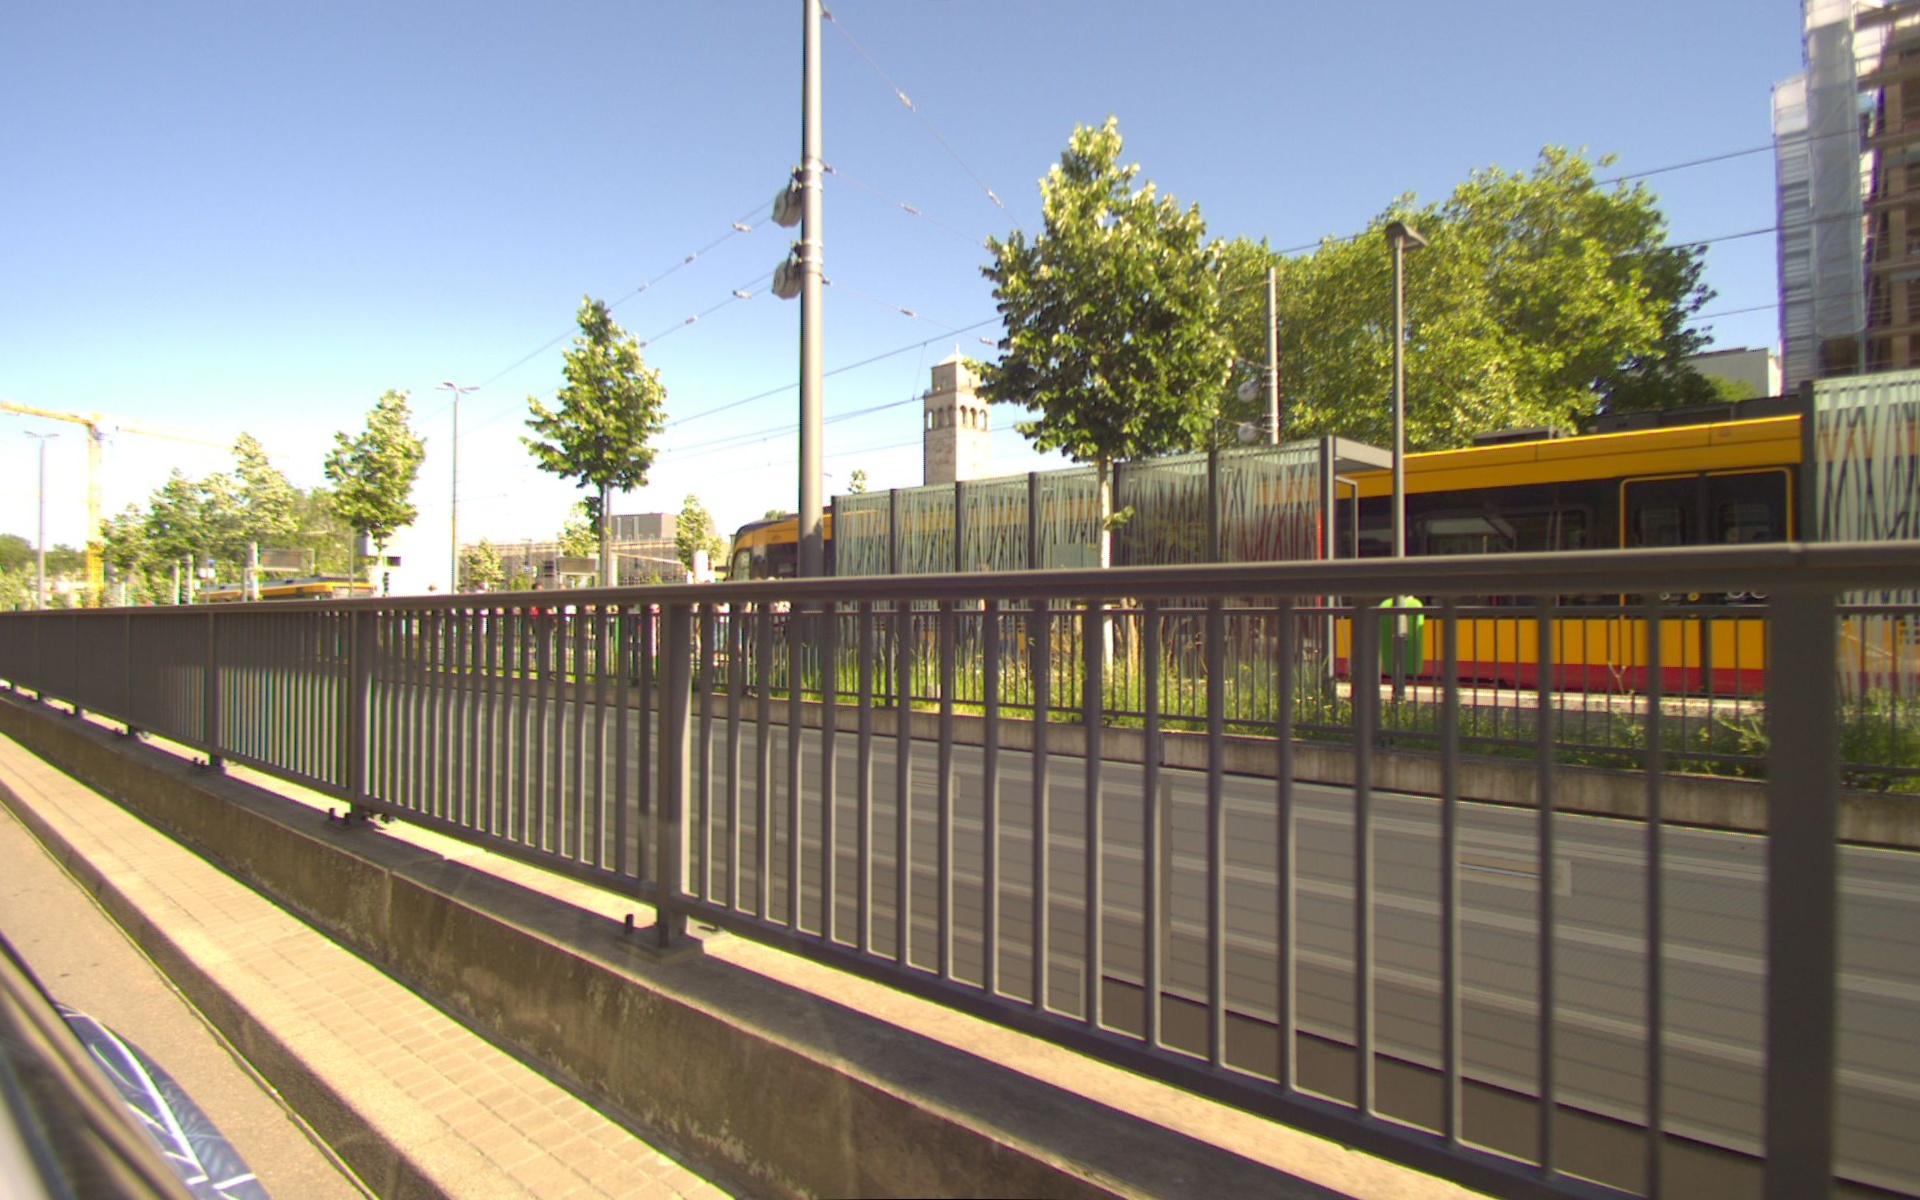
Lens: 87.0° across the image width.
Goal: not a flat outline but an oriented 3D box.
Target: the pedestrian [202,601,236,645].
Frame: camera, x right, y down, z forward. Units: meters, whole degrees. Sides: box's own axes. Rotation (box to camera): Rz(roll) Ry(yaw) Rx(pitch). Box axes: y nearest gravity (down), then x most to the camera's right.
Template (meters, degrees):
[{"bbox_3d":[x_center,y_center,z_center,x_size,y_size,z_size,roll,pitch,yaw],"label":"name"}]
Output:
[{"bbox_3d":[-31.443,0.977,42.921,1.188,1.788,0.865,-2,-1,39],"label":"pedestrian"}]

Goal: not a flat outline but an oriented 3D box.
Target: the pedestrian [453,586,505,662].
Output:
[{"bbox_3d":[-12.123,0.608,25.511,1.007,1.865,0.877,-1,-1,41],"label":"pedestrian"}]

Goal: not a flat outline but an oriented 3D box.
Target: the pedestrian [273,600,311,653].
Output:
[{"bbox_3d":[-22.901,0.911,34.710,0.977,1.788,0.783,-2,-1,39],"label":"pedestrian"}]

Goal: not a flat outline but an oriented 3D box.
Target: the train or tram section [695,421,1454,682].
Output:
[{"bbox_3d":[0.651,-0.499,18.906,15.178,3.304,2.840,-1,0,42],"label":"train or tram section"}]

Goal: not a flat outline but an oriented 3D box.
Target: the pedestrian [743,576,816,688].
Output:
[{"bbox_3d":[-2.751,0.481,15.413,0.861,1.641,0.733,-1,-1,42],"label":"pedestrian"}]

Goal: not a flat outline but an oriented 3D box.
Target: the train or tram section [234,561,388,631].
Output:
[{"bbox_3d":[-36.048,-0.106,55.730,15.959,3.346,2.818,-1,1,42],"label":"train or tram section"}]

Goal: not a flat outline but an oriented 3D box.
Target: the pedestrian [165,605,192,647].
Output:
[{"bbox_3d":[-34.218,1.150,44.332,0.958,1.788,0.696,-2,-1,39],"label":"pedestrian"}]

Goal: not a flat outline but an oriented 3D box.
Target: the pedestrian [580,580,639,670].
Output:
[{"bbox_3d":[-6.600,0.469,19.069,0.861,1.641,0.733,-1,-1,42],"label":"pedestrian"}]

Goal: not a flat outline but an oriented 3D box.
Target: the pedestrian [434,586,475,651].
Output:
[{"bbox_3d":[-14.314,0.528,28.671,1.074,1.824,0.665,-1,-2,41],"label":"pedestrian"}]

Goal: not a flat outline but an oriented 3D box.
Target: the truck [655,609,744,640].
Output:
[{"bbox_3d":[-24.497,2.243,95.550,7.912,2.814,2.465,1,-2,-43],"label":"truck"}]

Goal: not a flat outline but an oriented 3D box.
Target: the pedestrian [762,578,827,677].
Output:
[{"bbox_3d":[-2.846,0.468,17.443,0.861,1.641,0.733,-1,-1,42],"label":"pedestrian"}]

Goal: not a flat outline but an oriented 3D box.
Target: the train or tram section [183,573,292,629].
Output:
[{"bbox_3d":[-46.850,0.151,65.398,13.067,3.334,2.840,-1,0,42],"label":"train or tram section"}]

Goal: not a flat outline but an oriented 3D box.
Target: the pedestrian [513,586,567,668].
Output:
[{"bbox_3d":[-8.709,0.557,20.975,0.861,1.641,0.733,-1,-1,42],"label":"pedestrian"}]

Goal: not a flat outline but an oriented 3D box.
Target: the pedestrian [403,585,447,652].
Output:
[{"bbox_3d":[-14.884,0.512,28.164,1.030,1.824,0.761,-1,-2,41],"label":"pedestrian"}]

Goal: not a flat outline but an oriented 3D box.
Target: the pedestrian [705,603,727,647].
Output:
[{"bbox_3d":[-8.917,0.905,36.964,0.590,1.605,0.525,-1,-2,39],"label":"pedestrian"}]

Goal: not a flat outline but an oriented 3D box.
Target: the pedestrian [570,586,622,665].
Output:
[{"bbox_3d":[-7.715,0.535,21.455,0.861,1.641,0.733,-1,-1,42],"label":"pedestrian"}]

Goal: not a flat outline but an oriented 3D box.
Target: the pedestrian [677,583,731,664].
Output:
[{"bbox_3d":[-5.332,0.491,21.090,0.861,1.641,0.733,-1,-1,42],"label":"pedestrian"}]

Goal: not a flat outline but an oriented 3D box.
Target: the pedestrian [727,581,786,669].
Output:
[{"bbox_3d":[-3.922,0.472,19.497,0.861,1.641,0.733,-1,-1,42],"label":"pedestrian"}]

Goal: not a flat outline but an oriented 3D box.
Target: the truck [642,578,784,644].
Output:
[{"bbox_3d":[-12.240,0.537,49.717,7.950,2.992,2.690,-1,1,41],"label":"truck"}]

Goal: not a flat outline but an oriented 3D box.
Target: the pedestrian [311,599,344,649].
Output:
[{"bbox_3d":[-22.957,0.867,36.733,0.825,1.788,0.754,-2,-1,38],"label":"pedestrian"}]

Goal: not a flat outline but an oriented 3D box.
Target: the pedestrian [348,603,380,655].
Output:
[{"bbox_3d":[-17.817,0.861,30.262,0.588,1.524,0.641,-2,-1,38],"label":"pedestrian"}]

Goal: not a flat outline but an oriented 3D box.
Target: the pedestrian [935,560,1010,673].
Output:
[{"bbox_3d":[0.184,0.251,15.361,0.861,1.641,0.733,-1,-1,42],"label":"pedestrian"}]

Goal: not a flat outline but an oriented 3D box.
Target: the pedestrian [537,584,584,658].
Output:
[{"bbox_3d":[-9.435,0.497,23.898,0.861,1.707,0.733,-1,-1,42],"label":"pedestrian"}]

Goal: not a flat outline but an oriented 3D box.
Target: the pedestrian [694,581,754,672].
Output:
[{"bbox_3d":[-4.410,0.488,18.888,0.861,1.641,0.733,-1,-1,42],"label":"pedestrian"}]

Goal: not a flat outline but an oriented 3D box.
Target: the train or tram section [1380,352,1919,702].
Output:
[{"bbox_3d":[14.572,-0.832,6.571,22.134,3.304,2.840,-1,0,42],"label":"train or tram section"}]

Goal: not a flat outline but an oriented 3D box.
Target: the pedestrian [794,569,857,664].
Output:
[{"bbox_3d":[-2.402,0.289,18.050,0.861,1.641,0.733,-1,-1,42],"label":"pedestrian"}]

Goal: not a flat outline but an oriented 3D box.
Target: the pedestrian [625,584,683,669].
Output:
[{"bbox_3d":[-6.073,0.512,20.092,0.947,1.641,0.733,-1,-1,42],"label":"pedestrian"}]

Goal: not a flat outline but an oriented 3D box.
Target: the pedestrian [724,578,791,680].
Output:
[{"bbox_3d":[-3.382,0.482,16.903,0.861,1.641,0.733,-1,-1,42],"label":"pedestrian"}]
